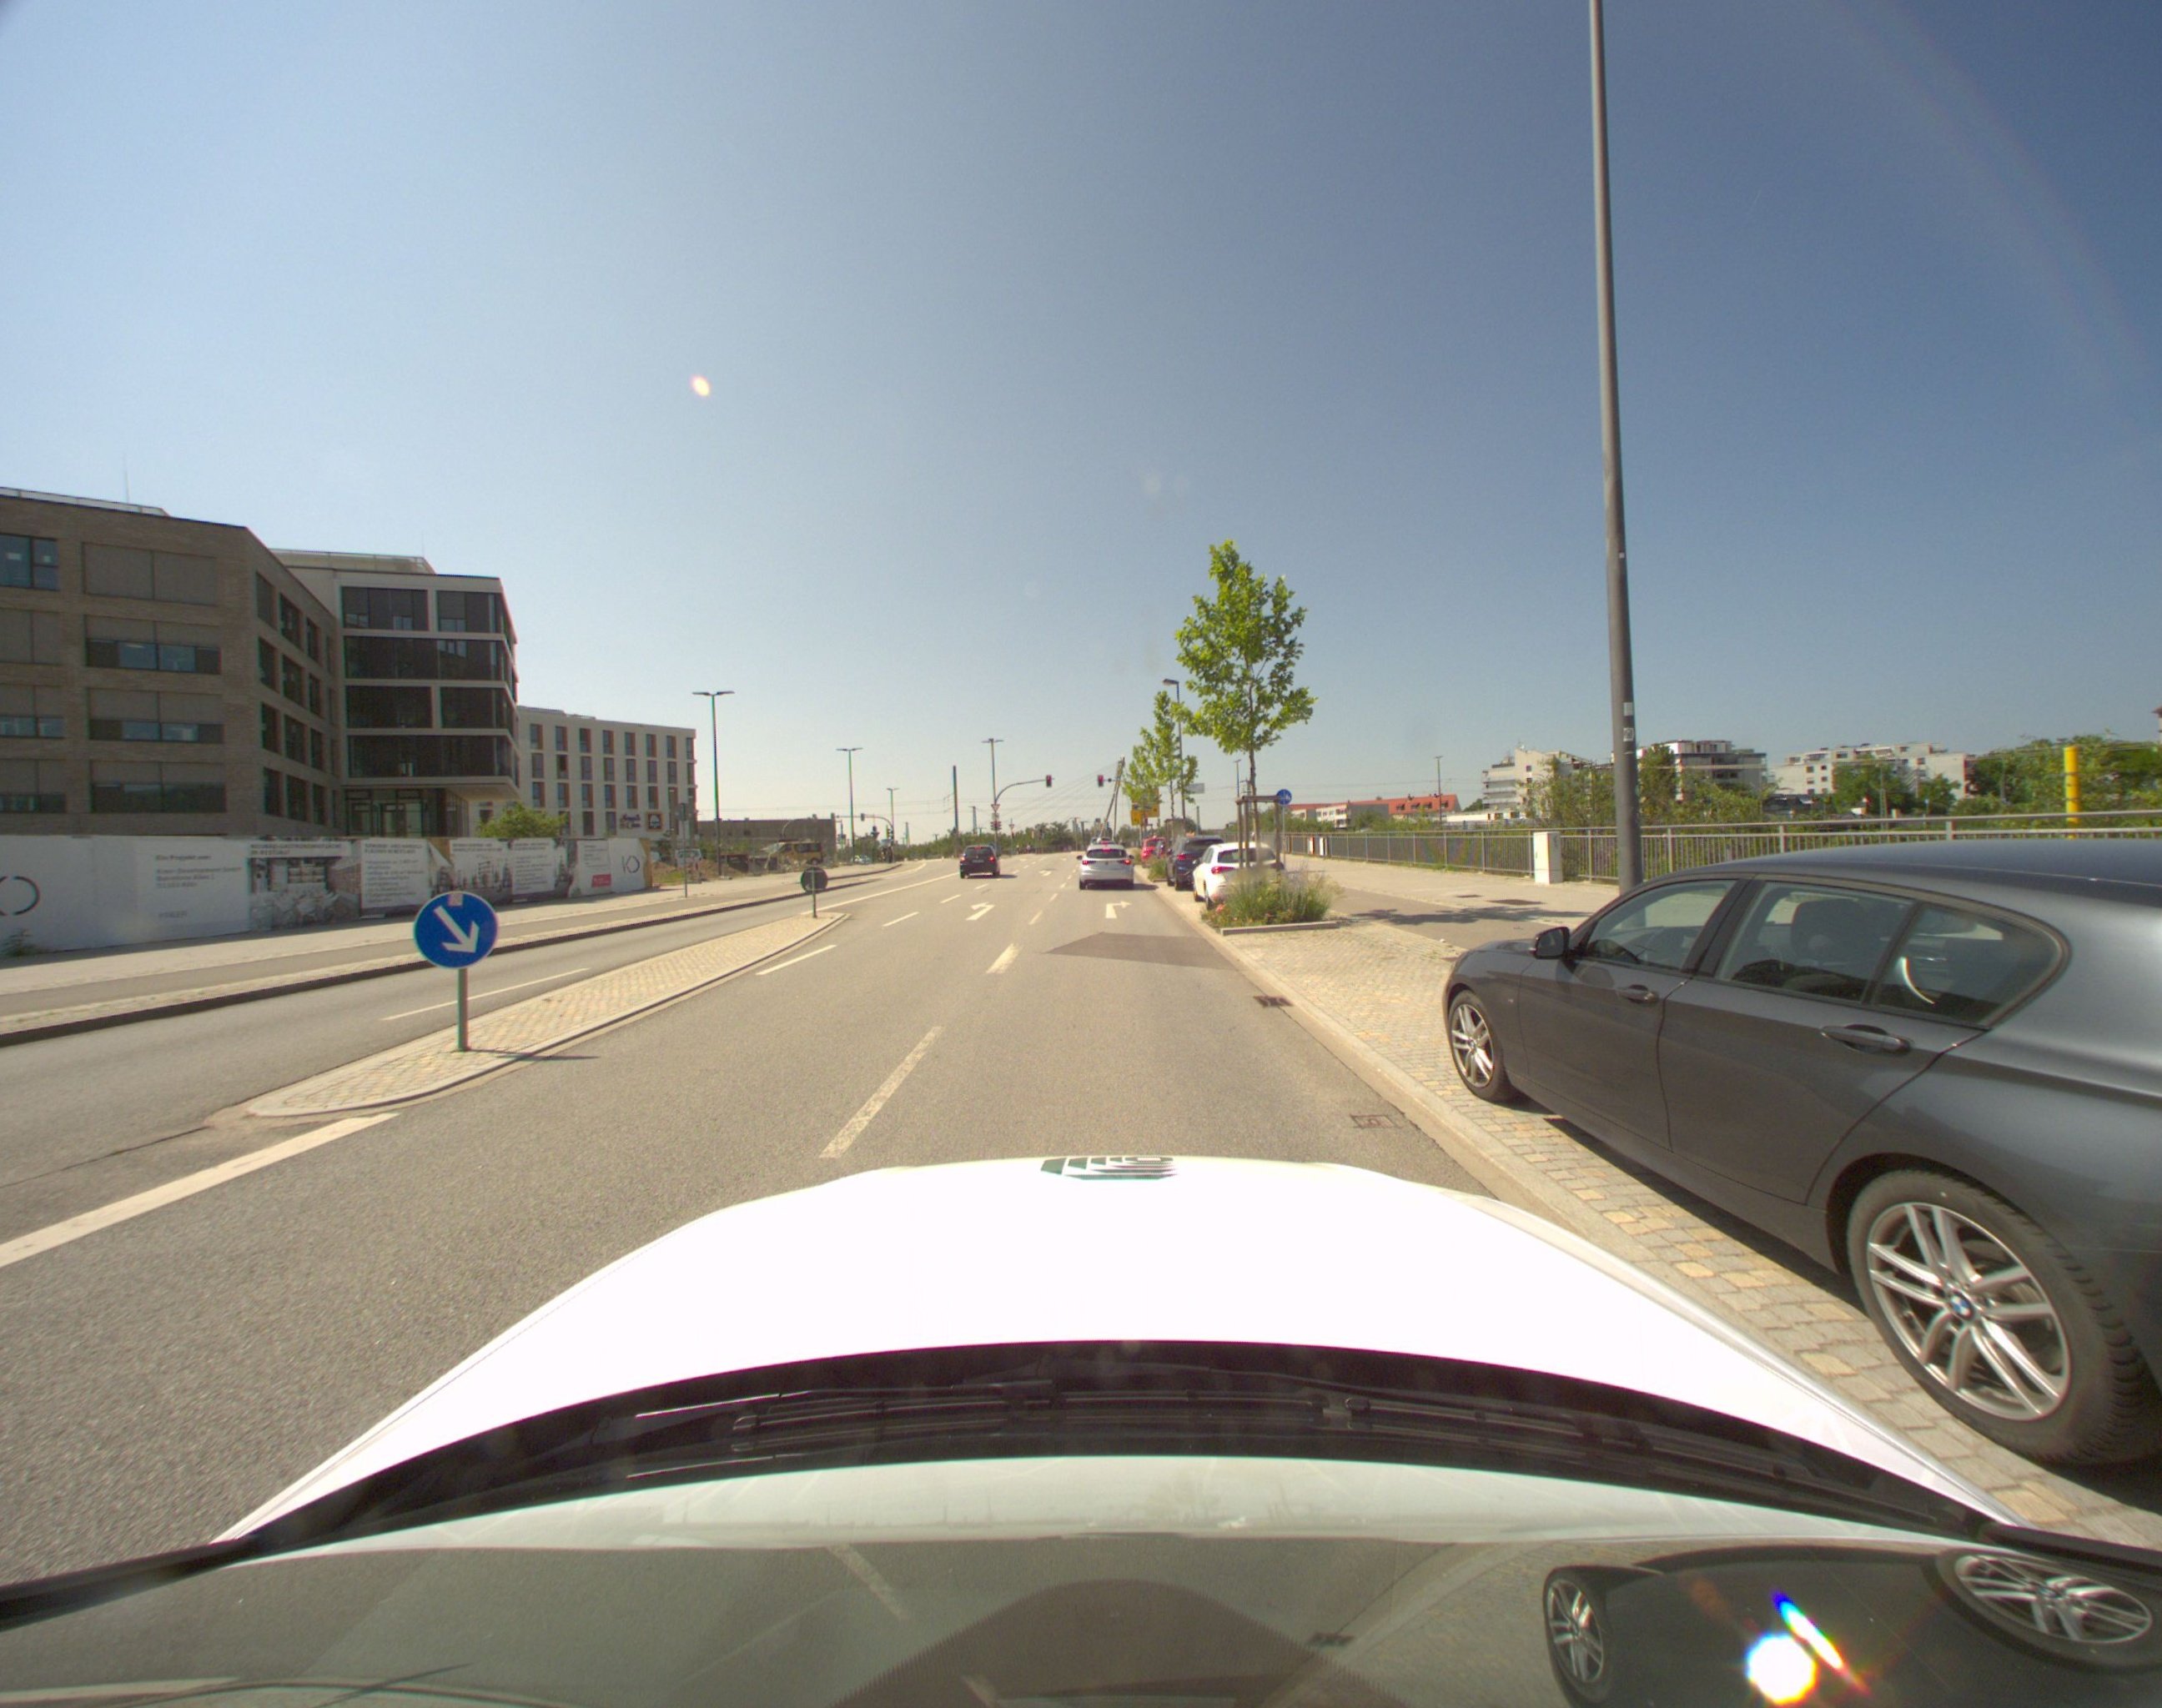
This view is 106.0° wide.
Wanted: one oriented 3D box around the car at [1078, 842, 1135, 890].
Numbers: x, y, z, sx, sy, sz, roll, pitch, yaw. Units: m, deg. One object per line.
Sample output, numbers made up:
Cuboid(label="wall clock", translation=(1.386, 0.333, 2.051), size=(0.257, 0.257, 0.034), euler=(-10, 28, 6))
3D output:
Cuboid(label="car", translation=(0.860, 0.351, 27.772), size=(1.771, 1.442, 4.002), euler=(-1, 1, 1))

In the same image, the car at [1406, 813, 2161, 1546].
Cuboid(label="car", translation=(3.007, 0.614, 3.377), size=(1.697, 1.401, 4.272), euler=(-4, -1, 2))

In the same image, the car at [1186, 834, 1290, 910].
Cuboid(label="car", translation=(3.518, 0.345, 18.947), size=(1.690, 1.475, 4.207), euler=(-4, 0, 2))

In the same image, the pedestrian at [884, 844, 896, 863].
Cuboid(label="pedestrian", translation=(-16.787, -0.066, 71.642), size=(0.843, 1.646, 0.827), euler=(-2, 0, -4))

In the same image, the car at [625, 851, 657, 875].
Cuboid(label="car", translation=(-33.020, 0.657, 61.133), size=(2.038, 1.672, 4.558), euler=(-2, 1, -29))

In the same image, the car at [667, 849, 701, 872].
Cuboid(label="car", translation=(-30.273, 0.477, 62.039), size=(2.038, 1.672, 4.558), euler=(-2, 1, -29))

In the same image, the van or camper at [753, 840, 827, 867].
Cuboid(label="van or camper", translation=(-21.444, -0.047, 60.200), size=(1.975, 1.897, 4.745), euler=(-2, -1, 44))

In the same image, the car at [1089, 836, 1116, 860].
Cuboid(label="car", translation=(1.490, -0.466, 57.306), size=(1.771, 1.568, 4.002), euler=(-2, 1, 1))

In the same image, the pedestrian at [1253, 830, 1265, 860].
Cuboid(label="pedestrian", translation=(9.186, -0.458, 42.043), size=(0.531, 1.575, 0.524), euler=(-1, -1, 1))

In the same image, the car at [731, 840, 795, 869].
Cuboid(label="car", translation=(-24.338, 0.021, 62.383), size=(1.974, 2.013, 4.025), euler=(-1, 1, 40))

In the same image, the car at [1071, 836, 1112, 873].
Cuboid(label="car", translation=(0.529, -0.019, 38.960), size=(1.771, 1.568, 4.002), euler=(-2, 1, 1))

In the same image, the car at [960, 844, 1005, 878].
Cuboid(label="car", translation=(-4.387, 0.274, 36.796), size=(1.615, 1.416, 3.725), euler=(-1, 0, -1))

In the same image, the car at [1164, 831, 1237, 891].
Cuboid(label="car", translation=(3.656, 0.172, 25.457), size=(1.815, 1.616, 3.614), euler=(-4, 1, 2))

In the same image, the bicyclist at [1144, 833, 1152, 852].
Cuboid(label="bicyclist", translation=(5.897, -0.984, 71.523), size=(0.591, 1.644, 0.312), euler=(-1, -1, -5))

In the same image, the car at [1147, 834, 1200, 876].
Cuboid(label="car", translation=(3.913, 0.031, 35.075), size=(1.772, 1.503, 4.002), euler=(-6, 0, 1))

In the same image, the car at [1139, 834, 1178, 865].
Cuboid(label="car", translation=(4.101, -0.238, 43.626), size=(1.771, 1.503, 4.002), euler=(-3, 1, 1))

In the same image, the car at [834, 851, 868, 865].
Cuboid(label="car", translation=(-31.411, 0.568, 111.137), size=(3.958, 1.772, 2.008), euler=(-1, -1, 14))
